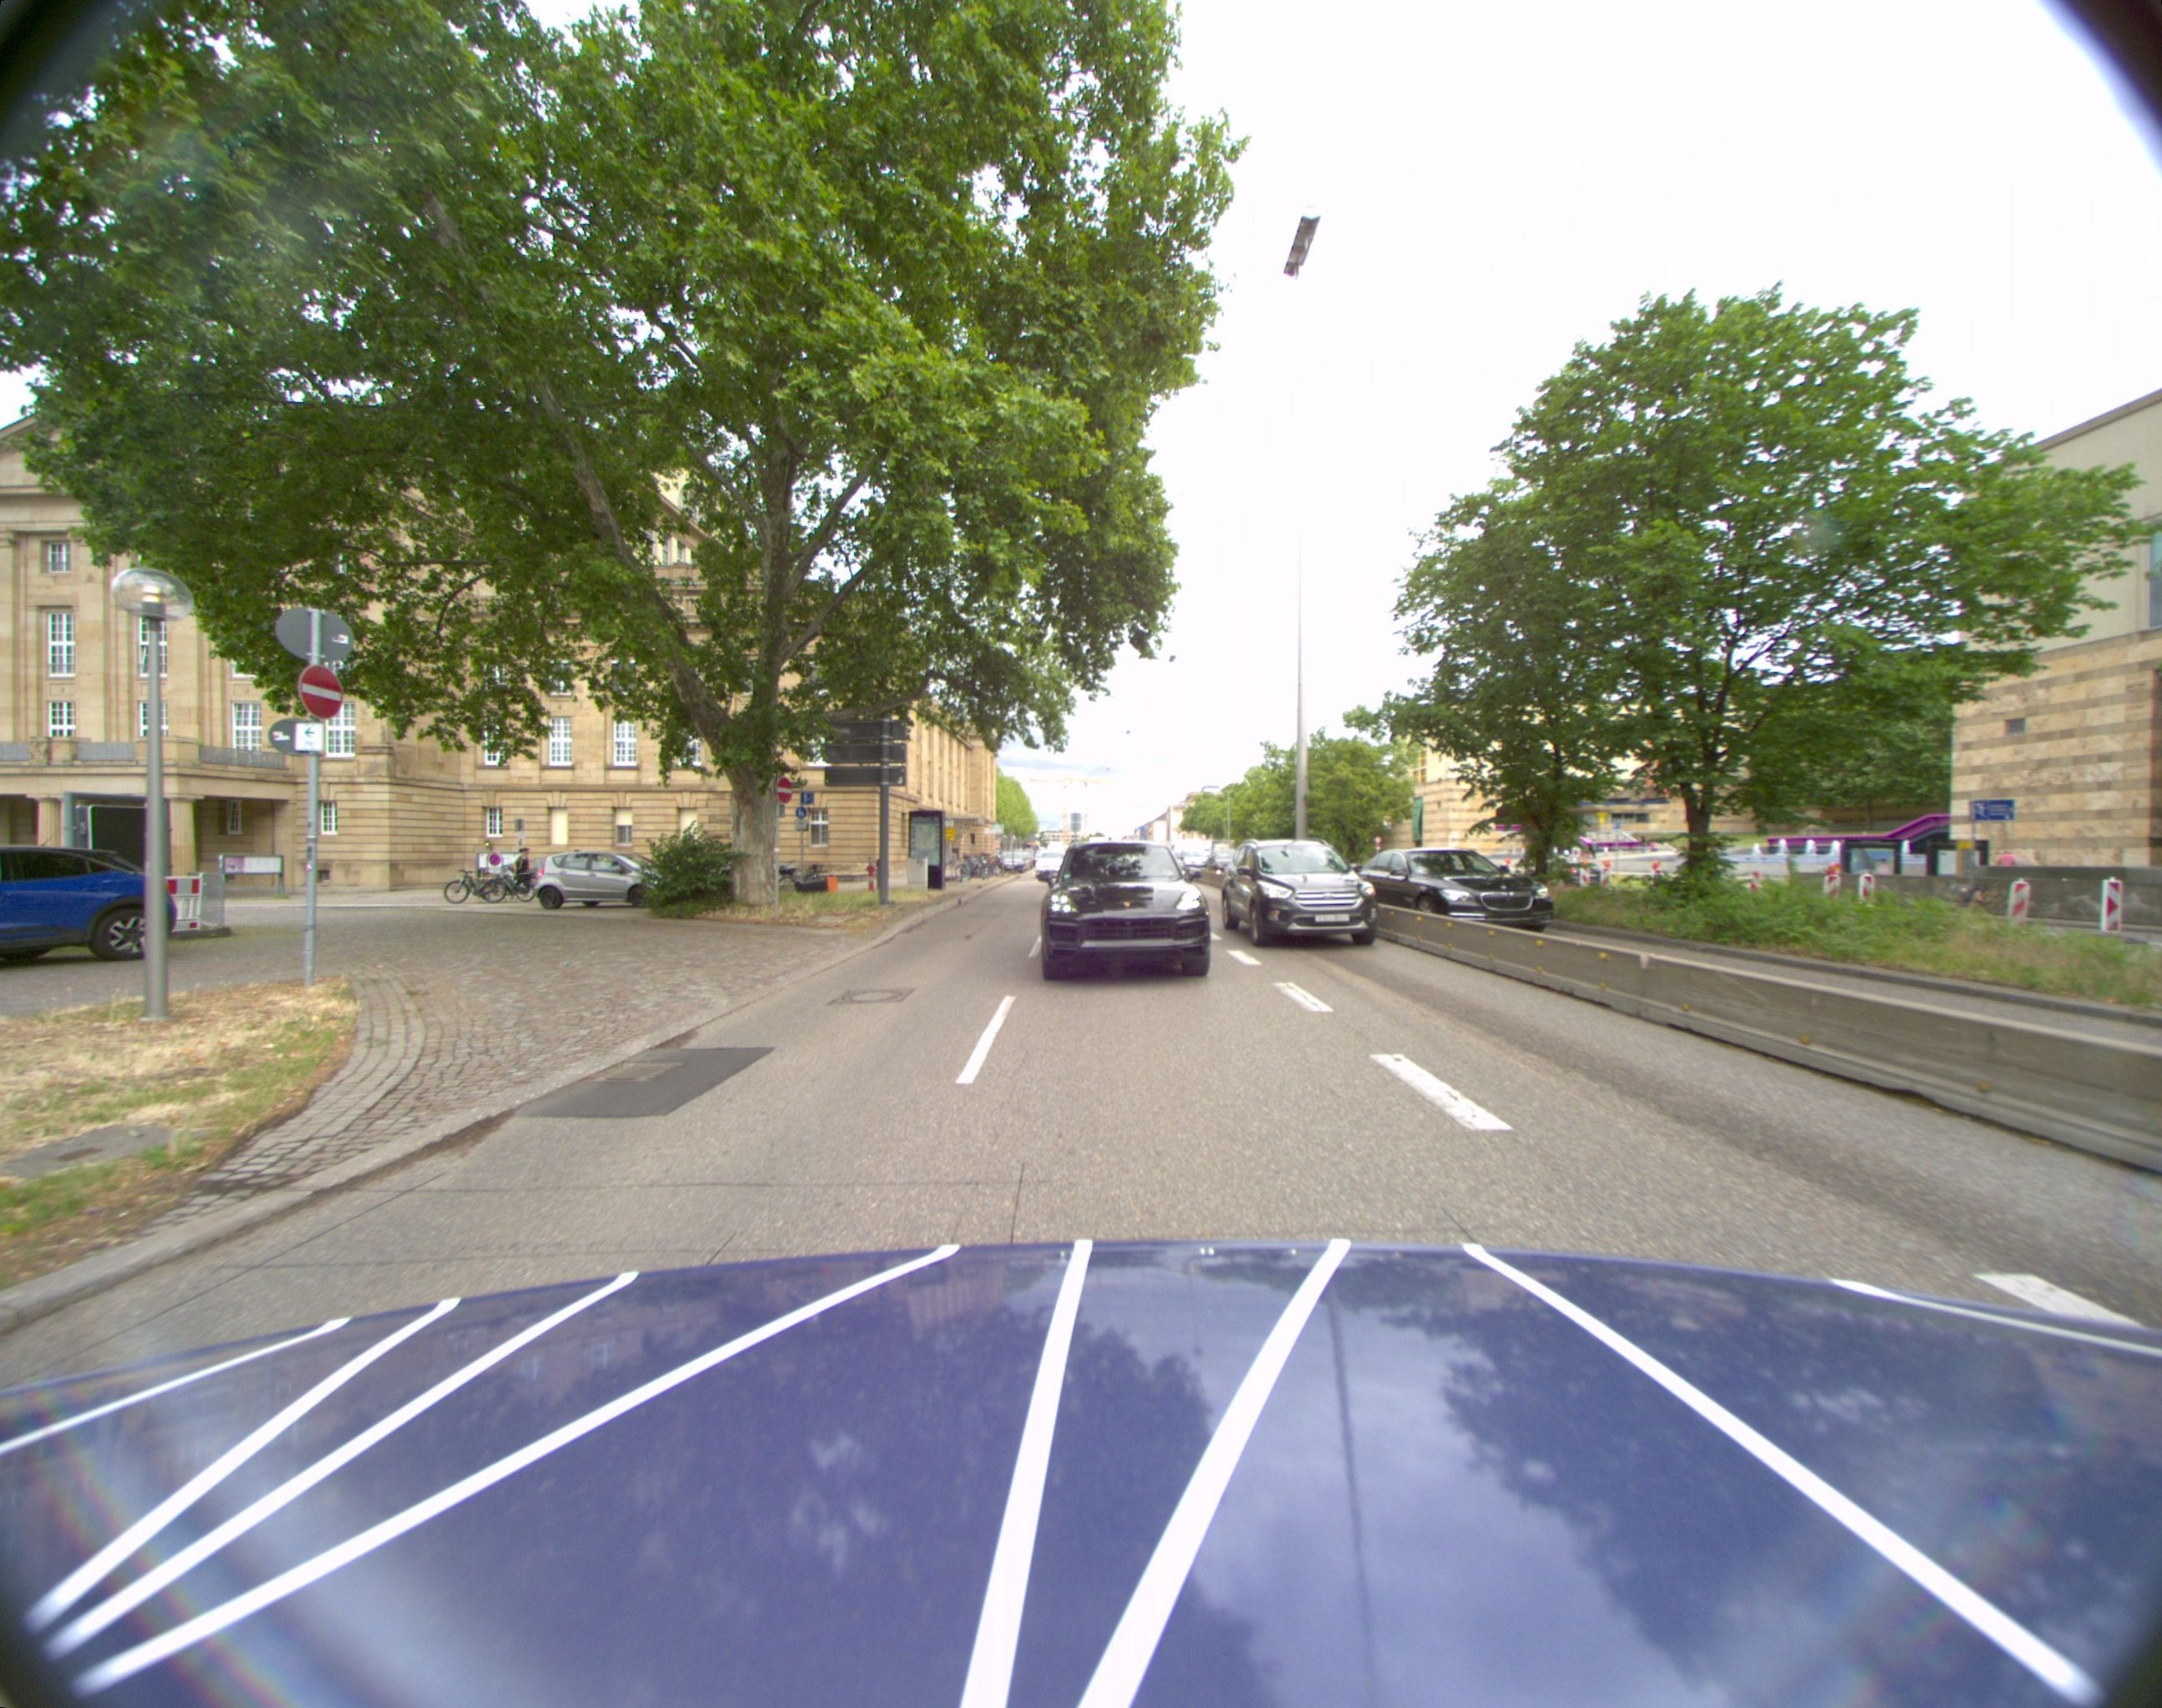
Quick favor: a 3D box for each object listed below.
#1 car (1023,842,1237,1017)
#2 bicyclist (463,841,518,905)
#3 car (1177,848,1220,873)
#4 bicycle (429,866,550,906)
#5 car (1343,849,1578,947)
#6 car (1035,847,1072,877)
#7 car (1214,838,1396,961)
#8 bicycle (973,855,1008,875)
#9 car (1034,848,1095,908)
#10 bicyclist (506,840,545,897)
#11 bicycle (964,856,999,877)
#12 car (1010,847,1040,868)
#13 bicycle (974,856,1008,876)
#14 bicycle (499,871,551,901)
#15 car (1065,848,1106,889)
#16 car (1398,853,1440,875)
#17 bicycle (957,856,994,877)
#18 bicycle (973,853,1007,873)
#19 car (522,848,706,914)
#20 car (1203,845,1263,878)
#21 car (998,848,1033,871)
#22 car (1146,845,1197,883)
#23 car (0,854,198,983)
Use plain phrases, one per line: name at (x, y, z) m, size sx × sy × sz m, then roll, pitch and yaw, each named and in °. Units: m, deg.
car at (0.443, 0.715, 9.853) m, size 2.061 × 1.616 × 4.600 m, roll -3°, pitch 1°, yaw -1°
bicyclist at (-18.990, 0.585, 24.471) m, size 1.013 × 2.002 × 1.102 m, roll -1°, pitch 0°, yaw -16°
car at (7.400, 0.382, 48.281) m, size 1.998 × 1.474 × 4.809 m, roll 0°, pitch 1°, yaw 1°
bicycle at (-18.974, 1.001, 24.451) m, size 2.846 × 1.178 × 1.096 m, roll -1°, pitch 1°, yaw -15°
car at (6.631, 0.660, 14.022) m, size 1.998 × 1.474 × 4.809 m, roll 0°, pitch 0°, yaw 1°
car at (-1.545, 0.427, 44.402) m, size 1.695 × 1.585 × 4.000 m, roll -2°, pitch 1°, yaw 4°
car at (3.585, 0.643, 13.094) m, size 1.898 × 1.705 × 4.658 m, roll -1°, pitch 0°, yaw 2°
bicycle at (-5.070, 0.611, 42.611) m, size 1.842 × 1.066 × 0.531 m, roll 0°, pitch 1°, yaw -18°
car at (-0.399, 0.619, 21.829) m, size 1.582 × 1.600 × 3.578 m, roll 0°, pitch 1°, yaw 2°
bicyclist at (-20.021, 0.517, 27.401) m, size 0.879 × 2.002 × 0.842 m, roll -3°, pitch 2°, yaw -24°
bicycle at (-5.309, 0.659, 40.762) m, size 1.841 × 1.066 × 0.618 m, roll 0°, pitch 1°, yaw -6°
car at (-4.588, 0.238, 62.524) m, size 1.867 × 1.585 × 4.000 m, roll 0°, pitch 1°, yaw 4°
bicycle at (-4.929, 0.630, 41.544) m, size 1.841 × 1.066 × 0.532 m, roll 0°, pitch 1°, yaw -7°
bicycle at (-19.970, 1.120, 27.350) m, size 0.918 × 0.926 × 2.674 m, roll -3°, pitch 1°, yaw -24°
car at (0.238, 0.547, 31.574) m, size 1.582 × 1.600 × 3.578 m, roll 0°, pitch 1°, yaw 2°
car at (25.106, 0.714, 56.566) m, size 1.582 × 1.600 × 3.578 m, roll 0°, pitch 1°, yaw 2°
bicycle at (-5.561, 0.648, 40.059) m, size 1.918 × 1.092 × 0.541 m, roll 0°, pitch 1°, yaw -6°
bicycle at (-5.294, 0.522, 44.206) m, size 1.939 × 1.126 × 0.540 m, roll 0°, pitch 1°, yaw -18°
car at (-12.934, 0.716, 21.206) m, size 3.997 × 1.587 × 1.734 m, roll -2°, pitch 1°, yaw 1°
car at (7.252, 0.326, 36.789) m, size 1.998 × 1.474 × 4.809 m, roll 0°, pitch 0°, yaw 1°
car at (-4.577, 0.346, 53.750) m, size 1.843 × 1.522 × 4.000 m, roll 0°, pitch 1°, yaw 4°
car at (3.929, 0.389, 33.578) m, size 1.767 × 1.507 × 4.151 m, roll -1°, pitch 1°, yaw 0°
car at (-13.509, 0.750, 8.687) m, size 1.767 × 1.509 × 4.219 m, roll 0°, pitch -1°, yaw 4°
